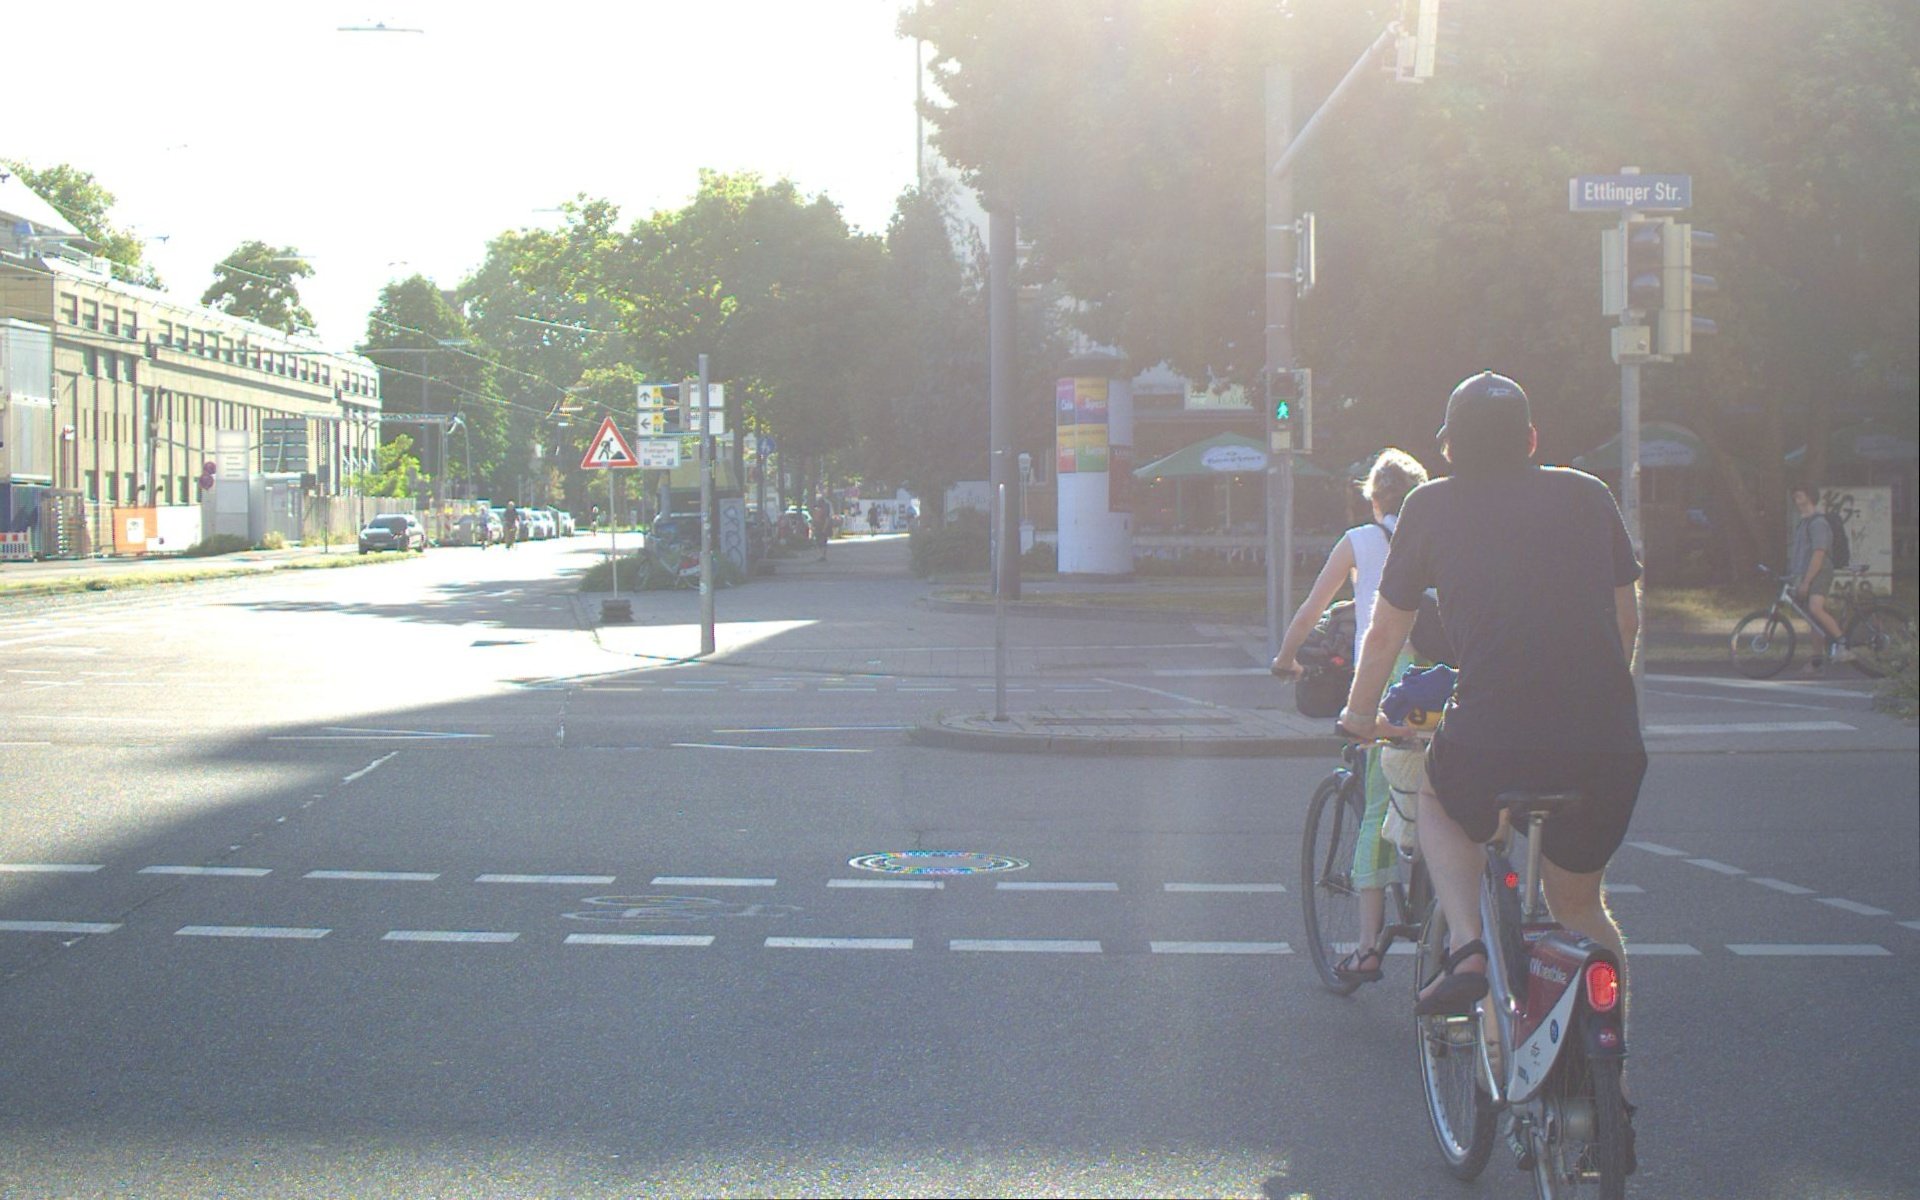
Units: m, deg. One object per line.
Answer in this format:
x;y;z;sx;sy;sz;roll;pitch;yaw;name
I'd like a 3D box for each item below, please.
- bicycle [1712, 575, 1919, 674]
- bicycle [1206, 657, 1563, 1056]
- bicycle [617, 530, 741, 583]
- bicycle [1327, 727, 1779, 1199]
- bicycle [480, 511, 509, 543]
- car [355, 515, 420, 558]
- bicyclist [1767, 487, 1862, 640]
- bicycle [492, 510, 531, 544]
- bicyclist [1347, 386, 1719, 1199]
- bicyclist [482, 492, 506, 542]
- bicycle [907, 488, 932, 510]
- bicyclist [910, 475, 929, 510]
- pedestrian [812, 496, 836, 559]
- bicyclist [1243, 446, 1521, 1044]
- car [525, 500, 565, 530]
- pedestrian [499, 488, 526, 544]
8.051;0.220;32.085;1.944;0.886;0.718;1;1;6;bicycle
1.260;0.735;10.537;0.582;1.040;1.747;-1;1;-10;bicycle
-5.147;-0.802;62.919;2.244;0.937;0.654;-1;1;-5;bicycle
1.228;0.852;7.443;0.623;1.040;1.747;0;1;-2;bicycle
-17.907;-2.792;132.202;0.750;1.201;3.108;1;1;-2;bicycle
-21.872;-2.434;131.476;1.993;1.593;4.001;-1;2;-3;car
7.969;-0.343;32.080;0.747;1.401;0.702;1;1;6;bicyclist
-16.445;-2.674;126.076;0.751;1.201;3.107;1;1;5;bicycle
1.216;0.412;7.432;0.623;1.709;0.913;0;1;-2;bicyclist
-17.902;-3.176;132.125;0.750;1.913;1.215;1;1;-2;bicyclist
-2.315;-5.730;195.969;0.890;1.215;2.794;1;1;-12;bicycle
-2.318;-6.125;195.941;0.890;2.007;0.749;1;1;-12;bicyclist
-3.704;-1.971;93.346;0.576;1.683;0.585;-1;1;-8;pedestrian
1.271;0.409;10.477;0.583;1.732;0.950;-1;1;-10;bicyclist
-22.975;-4.701;190.401;1.993;1.638;4.001;0;1;-4;car
-16.429;-3.082;126.134;0.751;2.056;1.050;1;1;5;pedestrian
